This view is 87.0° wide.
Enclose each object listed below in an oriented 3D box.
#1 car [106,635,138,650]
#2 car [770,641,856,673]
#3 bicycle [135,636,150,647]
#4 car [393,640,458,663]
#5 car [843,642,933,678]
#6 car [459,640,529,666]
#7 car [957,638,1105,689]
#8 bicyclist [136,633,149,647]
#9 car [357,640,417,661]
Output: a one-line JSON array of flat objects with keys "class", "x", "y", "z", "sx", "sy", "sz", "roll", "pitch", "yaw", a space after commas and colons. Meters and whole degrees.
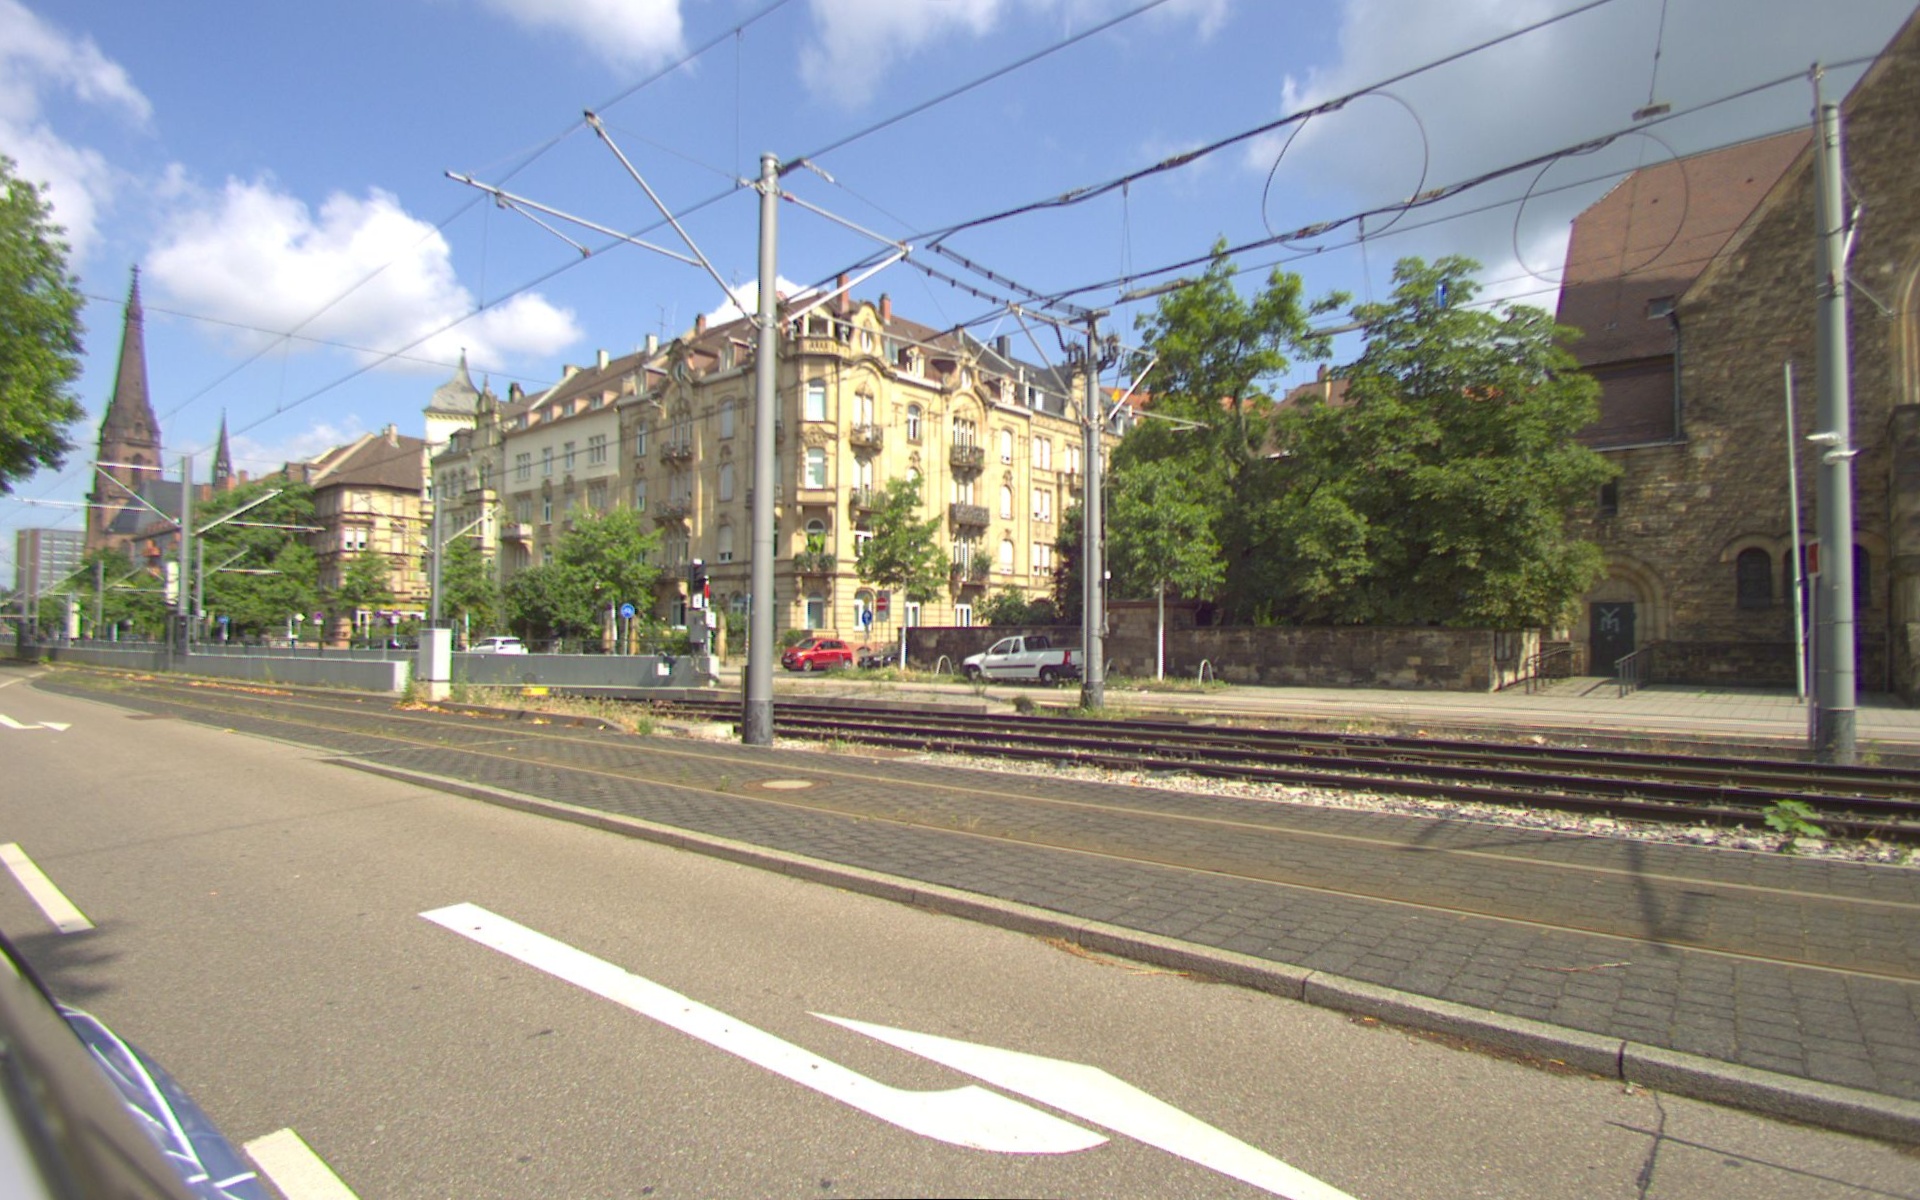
[{"class": "car", "x": -93.906, "y": 4.727, "z": 113.392, "sx": 4.111, "sy": 1.650, "sz": 1.973, "roll": -2, "pitch": -3, "yaw": 40}, {"class": "car", "x": -7.044, "y": 2.720, "z": 48.695, "sx": 1.933, "sy": 1.475, "sz": 3.738, "roll": -2, "pitch": -3, "yaw": 43}, {"class": "bicycle", "x": -82.334, "y": 4.182, "z": 101.928, "sx": 2.140, "sy": 0.986, "sz": 0.768, "roll": -2, "pitch": -5, "yaw": 41}, {"class": "car", "x": -32.618, "y": 3.121, "z": 61.718, "sx": 4.095, "sy": 1.337, "sz": 2.000, "roll": -2, "pitch": -3, "yaw": 39}, {"class": "car", "x": -3.120, "y": 2.616, "z": 44.471, "sx": 1.722, "sy": 1.475, "sz": 3.921, "roll": -2, "pitch": -4, "yaw": 41}, {"class": "car", "x": -25.734, "y": 2.904, "z": 55.827, "sx": 4.308, "sy": 1.338, "sz": 1.734, "roll": -2, "pitch": -3, "yaw": 39}, {"class": "car", "x": 2.193, "y": 1.958, "z": 31.938, "sx": 4.409, "sy": 1.516, "sz": 1.912, "roll": -2, "pitch": -3, "yaw": 39}, {"class": "bicyclist", "x": -82.305, "y": 3.998, "z": 101.913, "sx": 1.048, "sy": 1.348, "sz": 0.759, "roll": -2, "pitch": -5, "yaw": 41}, {"class": "car", "x": -36.913, "y": 3.238, "z": 65.154, "sx": 4.723, "sy": 1.337, "sz": 1.928, "roll": -2, "pitch": -3, "yaw": 41}]
